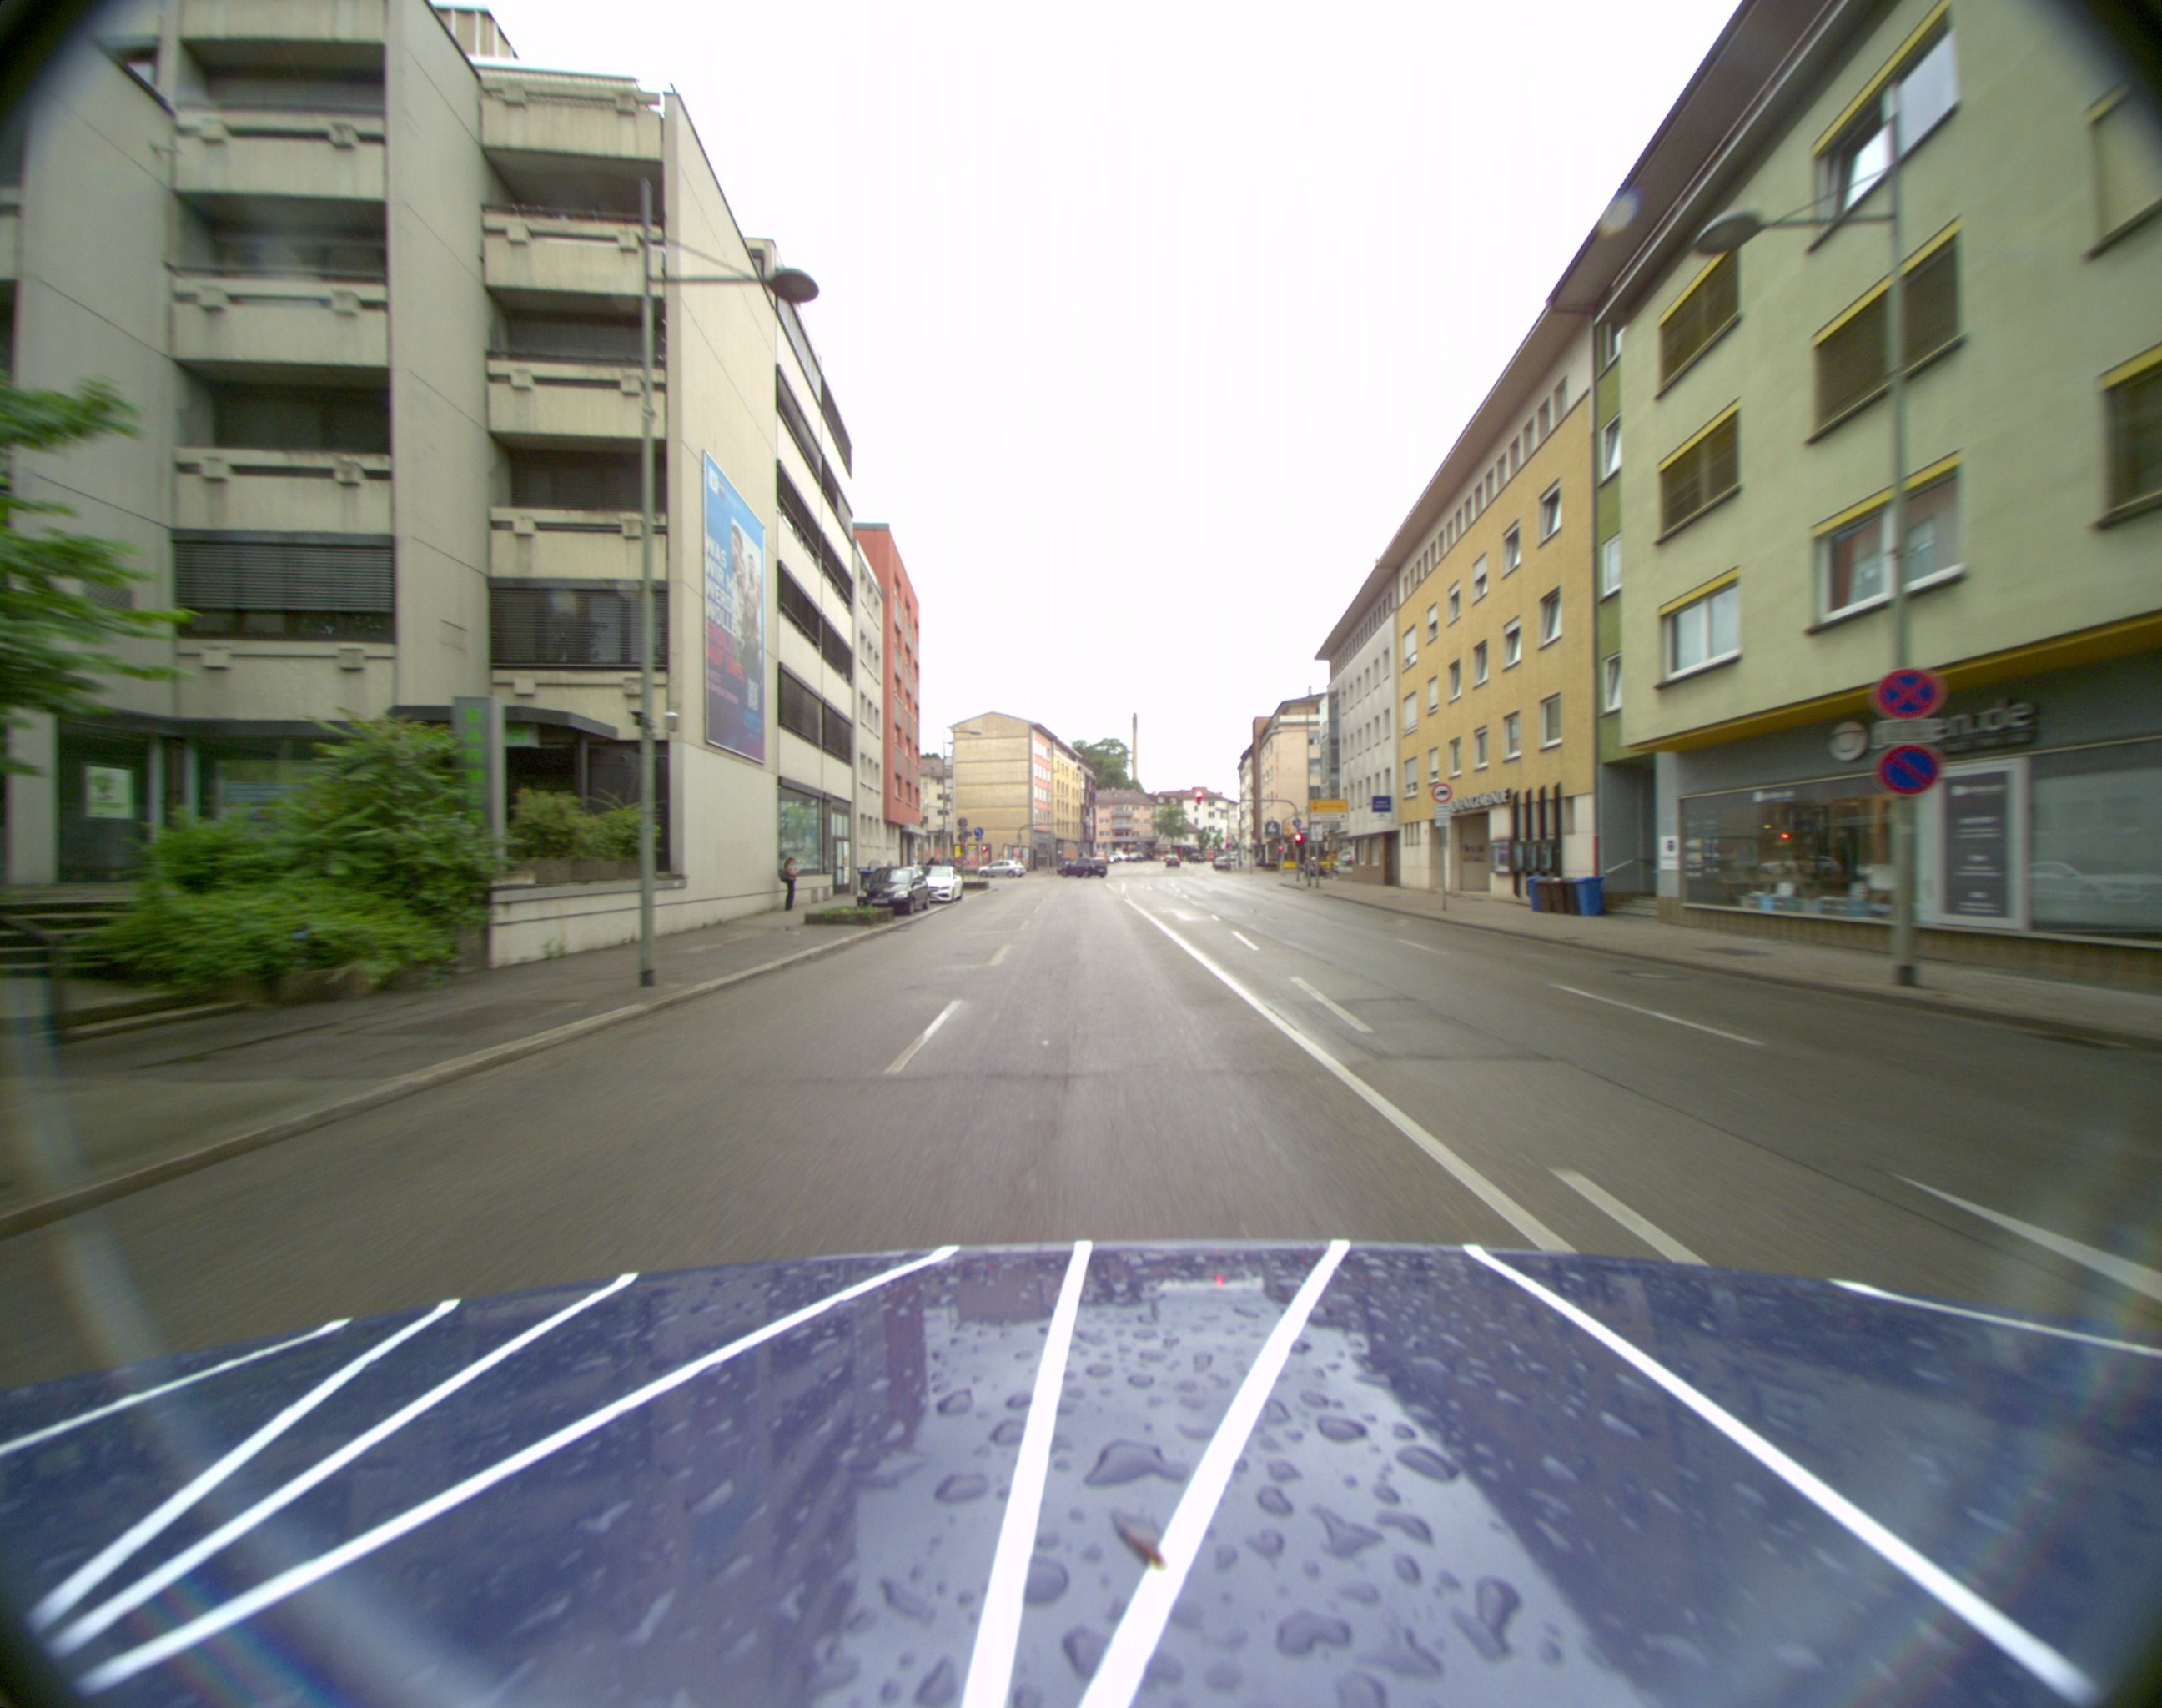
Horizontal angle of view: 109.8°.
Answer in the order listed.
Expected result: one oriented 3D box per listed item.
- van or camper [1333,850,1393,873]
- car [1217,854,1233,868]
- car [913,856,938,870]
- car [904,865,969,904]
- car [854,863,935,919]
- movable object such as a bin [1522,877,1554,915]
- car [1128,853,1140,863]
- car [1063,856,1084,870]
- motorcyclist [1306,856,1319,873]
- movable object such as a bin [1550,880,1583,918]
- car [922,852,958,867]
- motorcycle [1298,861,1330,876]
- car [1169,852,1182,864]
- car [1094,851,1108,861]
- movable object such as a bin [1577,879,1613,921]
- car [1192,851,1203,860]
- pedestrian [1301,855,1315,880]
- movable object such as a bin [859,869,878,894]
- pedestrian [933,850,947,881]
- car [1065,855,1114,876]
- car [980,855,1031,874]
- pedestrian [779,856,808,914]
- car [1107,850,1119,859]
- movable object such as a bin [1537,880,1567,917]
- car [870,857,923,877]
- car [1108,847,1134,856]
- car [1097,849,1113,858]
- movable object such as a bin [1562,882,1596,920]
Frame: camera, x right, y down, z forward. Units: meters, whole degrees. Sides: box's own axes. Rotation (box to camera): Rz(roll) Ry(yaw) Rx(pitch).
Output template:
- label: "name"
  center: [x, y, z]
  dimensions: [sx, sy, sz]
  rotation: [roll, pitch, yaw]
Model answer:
- label: "van or camper"
  center: [26.720, 0.705, 72.078]
  dimensions: [5.023, 2.002, 2.000]
  rotation: [-1, 2, 6]
- label: "car"
  center: [17.295, 0.816, 91.594]
  dimensions: [1.834, 1.612, 4.003]
  rotation: [0, 0, 10]
- label: "car"
  center: [-16.819, 0.940, 82.202]
  dimensions: [1.737, 1.448, 3.742]
  rotation: [-1, 0, 4]
- label: "car"
  center: [-5.714, 1.163, 30.558]
  dimensions: [1.835, 1.412, 4.569]
  rotation: [1, 0, -1]
- label: "car"
  center: [-5.815, 1.110, 24.128]
  dimensions: [1.706, 1.549, 3.804]
  rotation: [1, 0, -1]
- label: "movable object such as a bin"
  center: [12.530, 1.143, 20.833]
  dimensions: [0.517, 0.994, 0.524]
  rotation: [-4, 0, 7]
- label: "car"
  center: [9.518, 0.667, 135.105]
  dimensions: [1.670, 1.761, 4.003]
  rotation: [0, 0, 11]
- label: "car"
  center: [-0.758, 0.967, 82.534]
  dimensions: [1.736, 1.389, 3.744]
  rotation: [0, 0, 8]
- label: "motorcyclist"
  center: [17.894, 0.833, 58.723]
  dimensions: [0.871, 1.320, 0.493]
  rotation: [0, 0, 8]
- label: "movable object such as a bin"
  center: [12.451, 1.152, 19.502]
  dimensions: [0.529, 0.922, 0.426]
  rotation: [-4, 0, 7]
- label: "car"
  center: [-16.977, 0.646, 91.587]
  dimensions: [3.783, 1.701, 1.842]
  rotation: [-1, 0, 19]
- label: "motorcycle"
  center: [17.980, 1.136, 58.670]
  dimensions: [2.290, 1.157, 0.775]
  rotation: [0, 0, 10]
- label: "car"
  center: [12.668, 0.476, 101.681]
  dimensions: [1.748, 1.586, 4.002]
  rotation: [0, 0, 8]
- label: "car"
  center: [2.914, 0.265, 111.286]
  dimensions: [1.737, 1.389, 3.743]
  rotation: [-1, 0, 7]
- label: "movable object such as a bin"
  center: [12.560, 1.124, 18.559]
  dimensions: [0.529, 0.955, 0.435]
  rotation: [-4, 0, 7]
- label: "car"
  center: [20.466, 0.239, 133.243]
  dimensions: [1.591, 1.518, 3.491]
  rotation: [0, 0, 14]
- label: "pedestrian"
  center: [14.954, 0.880, 50.011]
  dimensions: [0.785, 1.578, 0.674]
  rotation: [-3, 0, 21]
- label: "movable object such as a bin"
  center: [-9.199, 1.192, 32.950]
  dimensions: [0.681, 1.097, 0.514]
  rotation: [0, 0, -2]
- label: "pedestrian"
  center: [-9.930, 0.816, 53.455]
  dimensions: [0.806, 2.140, 0.737]
  rotation: [-1, 0, -23]
- label: "car"
  center: [0.633, 0.931, 61.581]
  dimensions: [1.883, 1.674, 3.989]
  rotation: [-1, 0, -38]
- label: "car"
  center: [-6.577, 0.932, 65.899]
  dimensions: [3.990, 1.612, 1.839]
  rotation: [-1, 0, 23]
- label: "pedestrian"
  center: [-8.509, 0.909, 22.487]
  dimensions: [0.599, 1.650, 0.691]
  rotation: [3, 0, -7]
- label: "car"
  center: [5.247, 0.055, 124.228]
  dimensions: [1.736, 1.389, 3.743]
  rotation: [-1, 0, 7]
- label: "movable object such as a bin"
  center: [12.403, 1.164, 20.008]
  dimensions: [0.465, 0.922, 0.428]
  rotation: [-4, 0, 7]
- label: "car"
  center: [-15.659, 1.118, 64.682]
  dimensions: [3.996, 1.612, 1.837]
  rotation: [-1, 0, 4]
- label: "car"
  center: [7.415, -0.427, 142.578]
  dimensions: [2.038, 1.522, 4.895]
  rotation: [-1, 0, -40]
- label: "car"
  center: [3.738, -0.055, 115.581]
  dimensions: [1.736, 1.389, 3.745]
  rotation: [0, 0, 13]
- label: "movable object such as a bin"
  center: [12.469, 1.168, 19.040]
  dimensions: [0.529, 0.890, 0.435]
  rotation: [-4, 0, 7]
